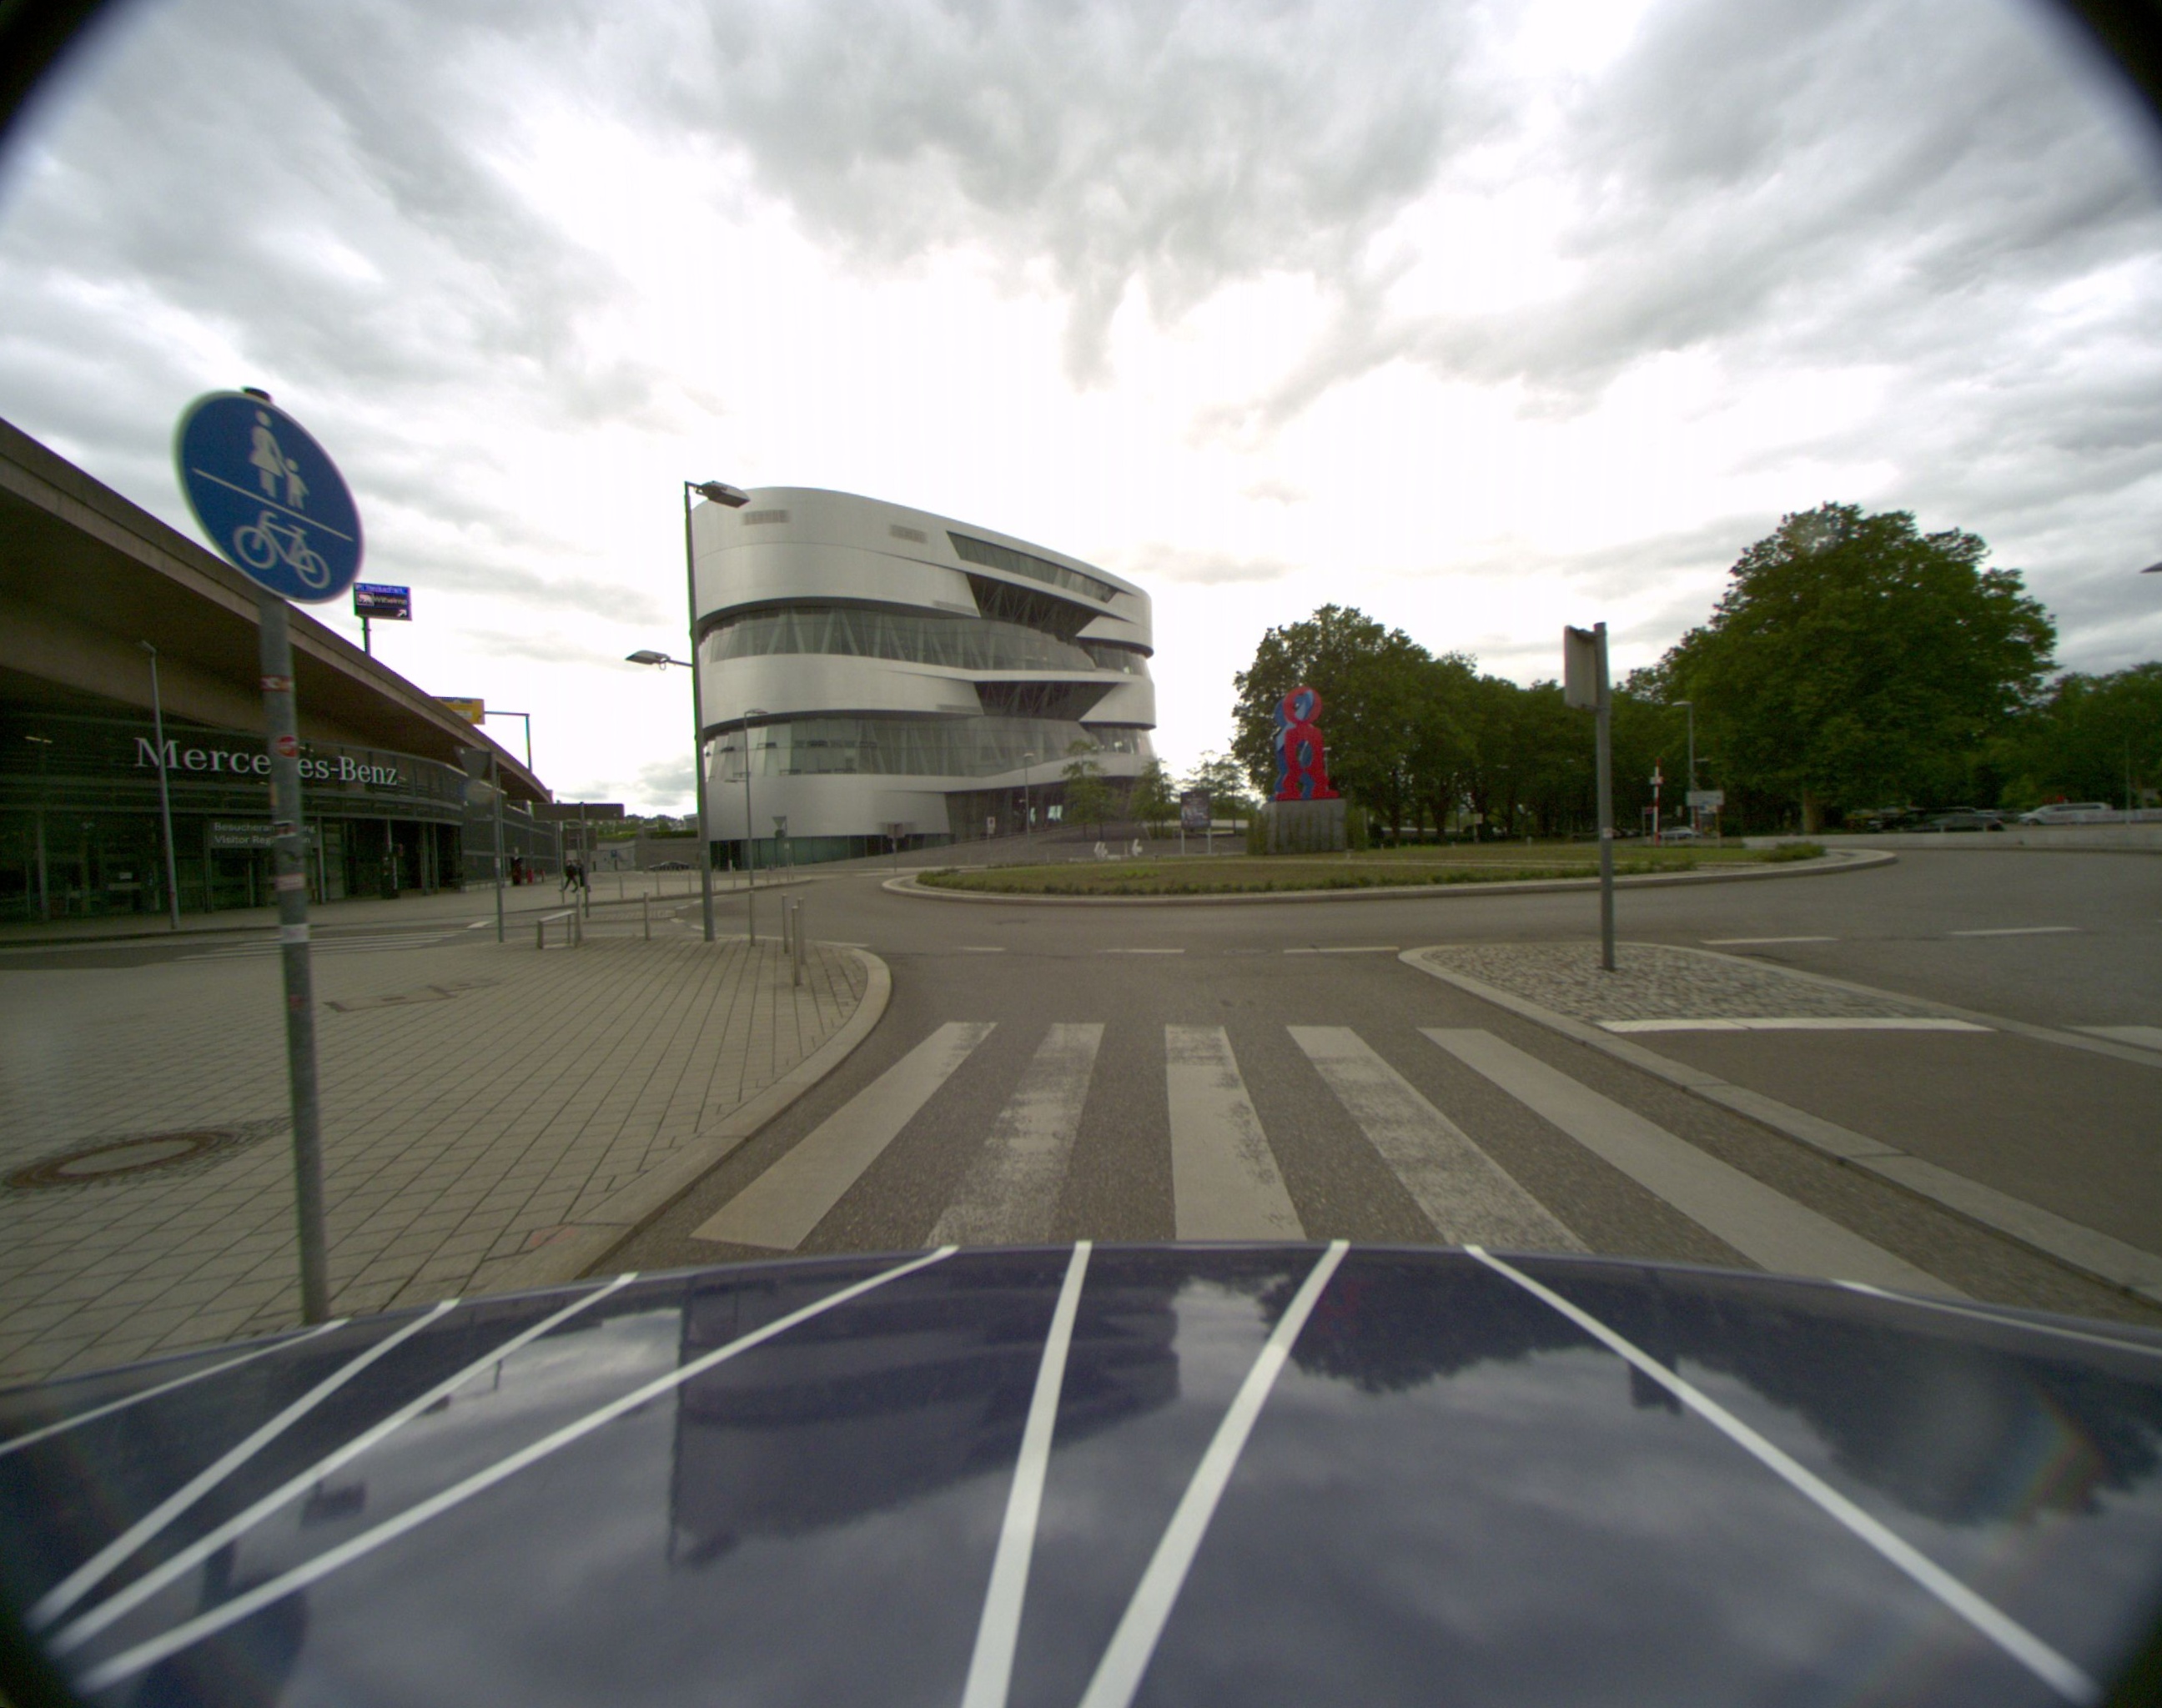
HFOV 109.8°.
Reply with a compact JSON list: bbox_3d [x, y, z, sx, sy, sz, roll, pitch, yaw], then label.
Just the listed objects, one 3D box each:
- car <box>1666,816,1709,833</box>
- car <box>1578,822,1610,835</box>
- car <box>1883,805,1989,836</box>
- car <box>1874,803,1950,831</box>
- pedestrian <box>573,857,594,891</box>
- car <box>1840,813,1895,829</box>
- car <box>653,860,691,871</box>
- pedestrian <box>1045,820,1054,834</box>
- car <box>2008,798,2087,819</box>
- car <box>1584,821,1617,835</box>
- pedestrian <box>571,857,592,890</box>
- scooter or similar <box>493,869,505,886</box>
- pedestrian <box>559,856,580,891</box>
[{"bbox_3d":[70.656,-3.390,88.479,1.674,1.767,3.701,-2,0,-44],"label":"car"},{"bbox_3d":[71.272,-3.547,105.536,3.440,1.675,1.691,-1,2,42],"label":"car"},{"bbox_3d":[48.393,-1.865,43.115,3.815,1.516,1.783,-2,0,43],"label":"car"},{"bbox_3d":[61.332,-2.693,56.180,1.674,1.767,3.701,-2,0,-44],"label":"car"},{"bbox_3d":[-25.468,1.009,38.899,0.774,1.695,0.863,-2,0,-40],"label":"pedestrian"},{"bbox_3d":[86.228,-3.602,83.351,1.875,1.509,3.997,-2,0,-37],"label":"car"},{"bbox_3d":[-61.088,1.672,113.541,4.915,1.390,1.531,-2,0,-31],"label":"car"},{"bbox_3d":[-4.659,-3.976,112.651,0.954,1.914,0.850,-8,4,-43],"label":"pedestrian"},{"bbox_3d":[93.057,-4.345,73.267,4.425,1.642,1.800,-2,0,42],"label":"car"},{"bbox_3d":[74.439,-3.723,108.889,1.691,1.838,3.441,-4,2,-37],"label":"car"},{"bbox_3d":[-26.019,1.015,39.581,0.774,1.695,0.785,-2,0,-40],"label":"pedestrian"},{"bbox_3d":[-39.555,1.585,51.644,0.381,1.116,1.425,-2,0,-29],"label":"scooter or similar"},{"bbox_3d":[-26.972,1.014,40.051,0.784,1.788,0.863,-2,0,-40],"label":"pedestrian"}]
